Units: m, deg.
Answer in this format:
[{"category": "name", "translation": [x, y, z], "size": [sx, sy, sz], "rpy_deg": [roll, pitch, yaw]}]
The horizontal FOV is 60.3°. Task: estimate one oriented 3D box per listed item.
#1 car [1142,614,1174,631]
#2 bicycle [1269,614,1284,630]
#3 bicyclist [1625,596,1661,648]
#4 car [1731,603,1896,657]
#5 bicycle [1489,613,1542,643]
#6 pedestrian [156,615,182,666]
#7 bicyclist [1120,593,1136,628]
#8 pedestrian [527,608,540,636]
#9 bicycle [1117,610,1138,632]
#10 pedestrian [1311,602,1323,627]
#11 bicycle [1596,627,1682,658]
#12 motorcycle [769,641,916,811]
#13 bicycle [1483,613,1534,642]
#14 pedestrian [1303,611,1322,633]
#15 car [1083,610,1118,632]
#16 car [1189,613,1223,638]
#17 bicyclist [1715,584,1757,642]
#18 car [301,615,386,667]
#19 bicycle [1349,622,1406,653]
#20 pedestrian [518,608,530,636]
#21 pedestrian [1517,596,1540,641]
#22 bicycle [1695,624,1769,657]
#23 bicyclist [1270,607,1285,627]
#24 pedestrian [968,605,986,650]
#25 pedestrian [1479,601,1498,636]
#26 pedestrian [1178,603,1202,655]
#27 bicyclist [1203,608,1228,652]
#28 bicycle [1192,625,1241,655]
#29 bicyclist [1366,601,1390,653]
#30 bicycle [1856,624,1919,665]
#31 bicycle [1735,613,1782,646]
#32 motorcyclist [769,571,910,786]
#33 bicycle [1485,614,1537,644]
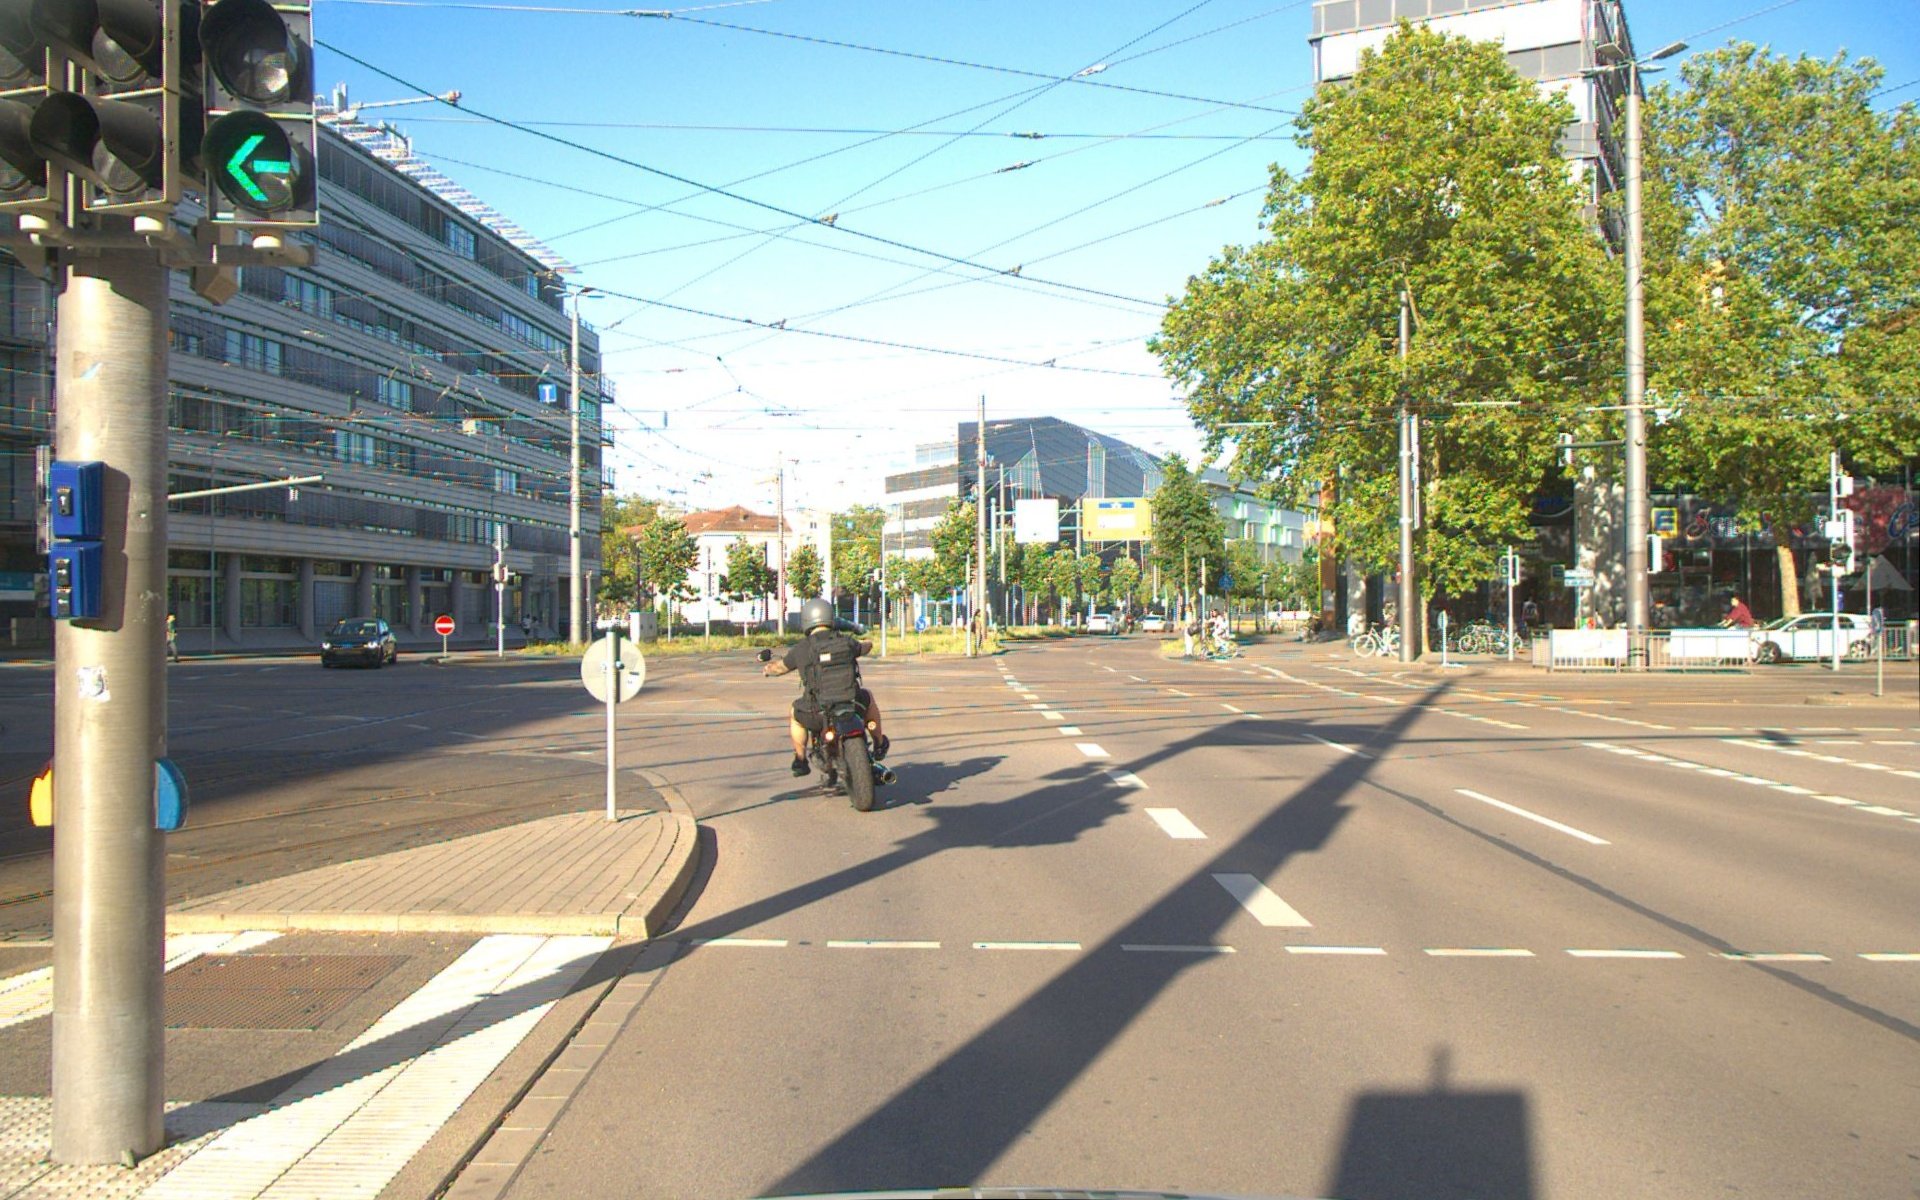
[{"category": "car", "translation": [16.593, 1.904, 138.441], "size": [1.973, 1.400, 4.041], "rpy_deg": [0, 0, 16]}, {"category": "bicycle", "translation": [22.741, 1.567, 118.859], "size": [1.018, 1.153, 3.183], "rpy_deg": [0, 0, 11]}, {"category": "bicyclist", "translation": [26.313, 0.840, 63.732], "size": [1.203, 1.965, 0.833], "rpy_deg": [0, -1, 30]}, {"category": "car", "translation": [25.381, 0.875, 49.273], "size": [3.903, 1.512, 2.001], "rpy_deg": [1, -1, 3]}, {"category": "bicycle", "translation": [18.894, 0.950, 56.291], "size": [1.668, 1.003, 0.391], "rpy_deg": [-1, 0, 13]}, {"category": "pedestrian", "translation": [-29.248, 1.506, 61.146], "size": [0.670, 1.855, 0.873], "rpy_deg": [-1, -2, -39]}, {"category": "bicyclist", "translation": [13.070, 0.836, 128.776], "size": [0.994, 2.670, 1.472], "rpy_deg": [-1, 0, 17]}, {"category": "pedestrian", "translation": [-26.741, 1.372, 103.711], "size": [0.536, 1.764, 0.642], "rpy_deg": [-1, 0, 5]}, {"category": "bicycle", "translation": [13.055, 1.617, 128.812], "size": [0.994, 1.607, 3.576], "rpy_deg": [-1, 0, 17]}, {"category": "pedestrian", "translation": [22.550, 0.923, 104.497], "size": [0.690, 1.597, 0.623], "rpy_deg": [-1, 0, 11]}, {"category": "bicycle", "translation": [26.185, 1.621, 63.810], "size": [2.984, 1.133, 0.833], "rpy_deg": [0, 0, 30]}, {"category": "motorcycle", "translation": [-0.962, 0.926, 12.892], "size": [0.987, 1.145, 2.319], "rpy_deg": [1, 0, -8]}, {"category": "bicycle", "translation": [19.244, 0.968, 58.054], "size": [1.668, 1.003, 0.391], "rpy_deg": [-1, 0, 13]}, {"category": "pedestrian", "translation": [17.333, 1.097, 81.377], "size": [0.768, 1.075, 0.814], "rpy_deg": [-1, 0, 22]}, {"category": "car", "translation": [10.034, 1.491, 117.870], "size": [1.861, 1.534, 4.003], "rpy_deg": [1, -1, 13]}, {"category": "car", "translation": [19.018, 1.979, 127.663], "size": [2.010, 1.906, 4.229], "rpy_deg": [1, -1, 16]}, {"category": "bicyclist", "translation": [22.281, 0.363, 47.477], "size": [0.906, 1.643, 0.638], "rpy_deg": [0, -1, 3]}, {"category": "car", "translation": [-19.047, 1.223, 50.975], "size": [1.773, 1.491, 4.267], "rpy_deg": [-1, 0, -30]}, {"category": "bicycle", "translation": [14.106, 1.263, 55.912], "size": [1.813, 1.039, 0.517], "rpy_deg": [-1, -1, 10]}, {"category": "pedestrian", "translation": [-27.342, 1.362, 103.770], "size": [0.536, 1.764, 0.642], "rpy_deg": [-1, 0, 5]}, {"category": "pedestrian", "translation": [24.342, 0.794, 70.783], "size": [0.830, 1.884, 0.809], "rpy_deg": [2, -1, 24]}, {"category": "bicycle", "translation": [22.132, 1.170, 47.456], "size": [1.814, 0.926, 0.652], "rpy_deg": [0, 0, 3]}, {"category": "bicyclist", "translation": [22.735, 1.206, 118.540], "size": [1.018, 1.405, 1.565], "rpy_deg": [0, 0, 11]}, {"category": "pedestrian", "translation": [0.612, 0.970, 59.232], "size": [0.643, 1.610, 0.489], "rpy_deg": [0, 0, 3]}, {"category": "pedestrian", "translation": [23.536, 0.808, 73.679], "size": [0.760, 1.554, 0.564], "rpy_deg": [-1, -1, 22]}, {"category": "pedestrian", "translation": [8.326, 1.045, 59.818], "size": [0.688, 1.869, 0.513], "rpy_deg": [0, -1, 35]}, {"category": "bicyclist", "translation": [8.936, 1.061, 57.839], "size": [0.727, 1.529, 0.570], "rpy_deg": [-1, -1, 24]}, {"category": "bicycle", "translation": [8.974, 1.402, 57.815], "size": [1.594, 1.039, 0.516], "rpy_deg": [-1, -1, 24]}, {"category": "bicyclist", "translation": [14.136, 0.918, 55.919], "size": [0.727, 1.724, 0.570], "rpy_deg": [-1, -1, 10]}, {"category": "bicycle", "translation": [31.267, 1.473, 55.300], "size": [2.890, 1.256, 0.869], "rpy_deg": [-1, 0, -29]}, {"category": "bicycle", "translation": [28.798, 1.035, 59.602], "size": [0.861, 1.110, 2.917], "rpy_deg": [0, 0, 40]}, {"category": "motorcyclist", "translation": [-0.962, 0.586, 12.874], "size": [1.003, 1.579, 1.284], "rpy_deg": [1, 0, -8]}, {"category": "bicycle", "translation": [19.042, 0.995, 57.139], "size": [1.668, 1.003, 0.391], "rpy_deg": [-1, 0, 13]}]
